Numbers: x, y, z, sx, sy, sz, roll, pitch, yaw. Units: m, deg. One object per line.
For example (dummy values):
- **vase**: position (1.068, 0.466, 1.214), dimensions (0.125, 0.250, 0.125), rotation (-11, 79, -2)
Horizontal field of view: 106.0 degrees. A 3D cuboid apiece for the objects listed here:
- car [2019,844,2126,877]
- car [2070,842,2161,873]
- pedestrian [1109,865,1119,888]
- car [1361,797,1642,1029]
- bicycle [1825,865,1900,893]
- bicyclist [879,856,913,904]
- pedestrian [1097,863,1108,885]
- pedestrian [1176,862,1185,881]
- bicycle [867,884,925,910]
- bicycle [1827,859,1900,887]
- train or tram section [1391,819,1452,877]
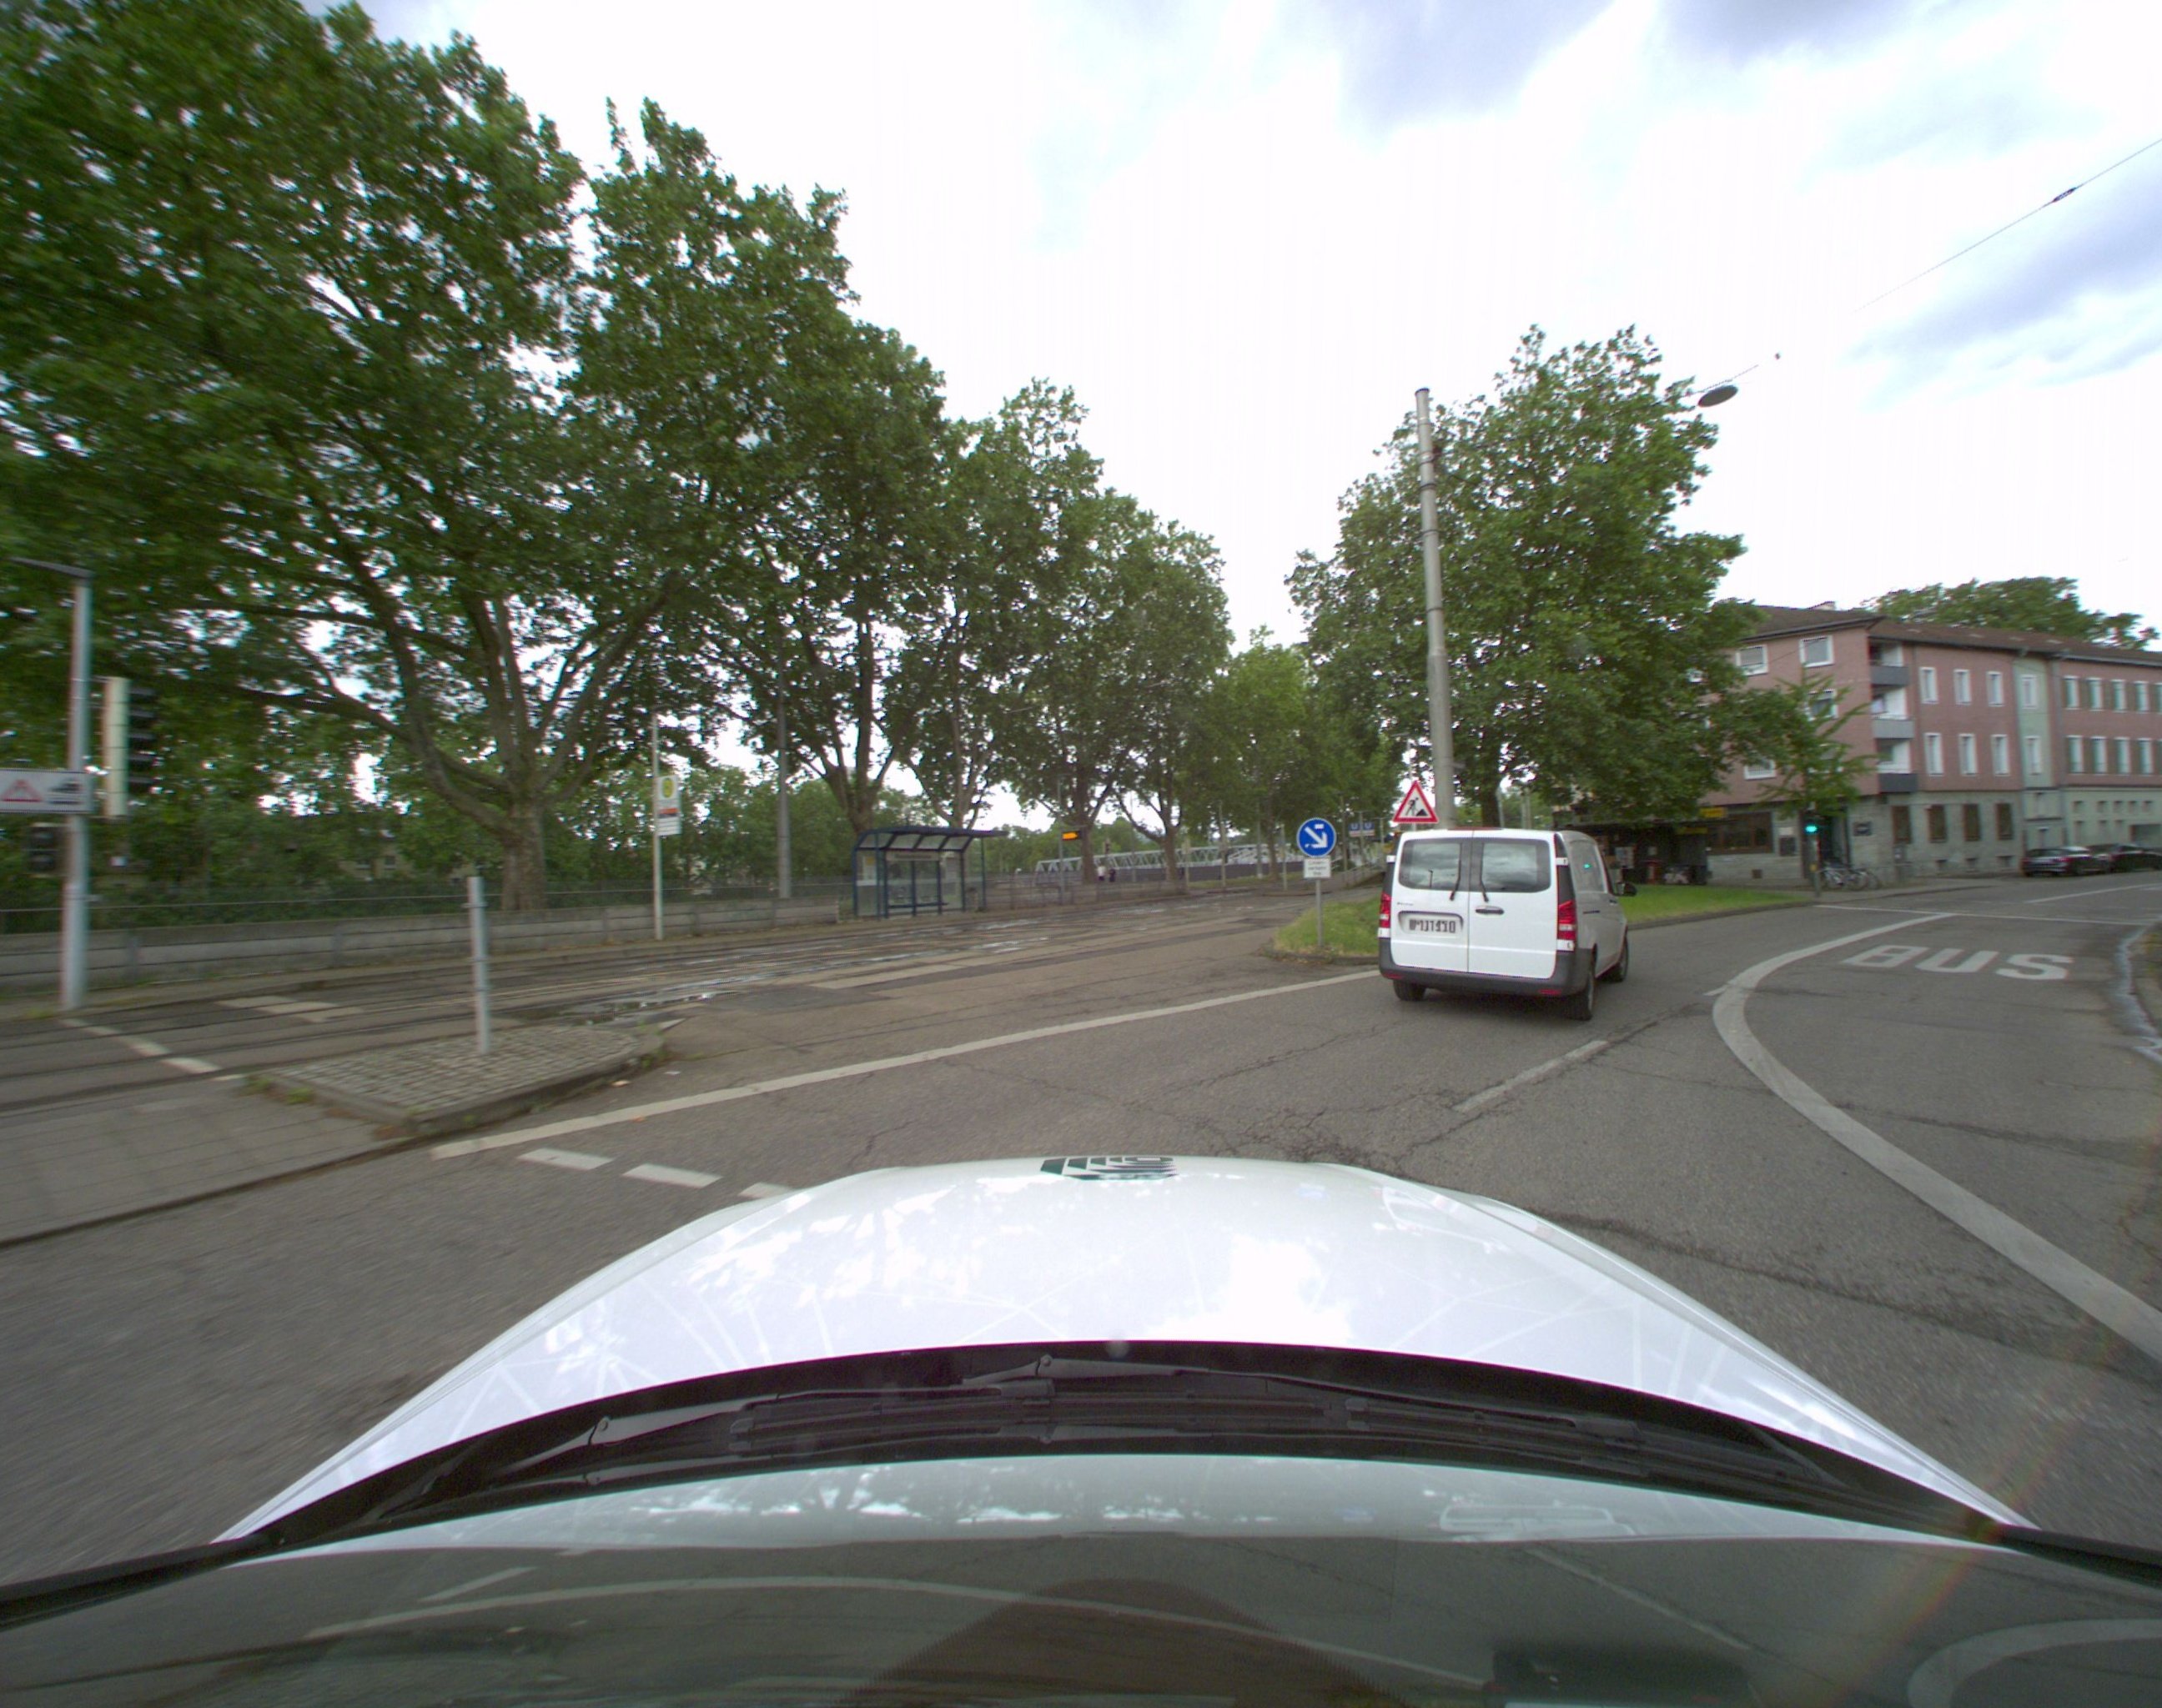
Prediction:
- **car**: position (47.150, 0.315, 38.752), dimensions (4.001, 1.398, 1.986), rotation (-1, -4, -21)
- **car**: position (51.971, 0.181, 40.678), dimensions (4.001, 1.398, 1.986), rotation (-1, -4, -21)
- **pedestrian**: position (2.178, 1.496, 53.897), dimensions (0.467, 1.451, 0.514), rotation (-4, -4, 28)
- **car**: position (5.122, 0.588, 9.523), dimensions (1.932, 2.014, 4.727), rotation (-3, -3, 39)
- **bicycle**: position (29.202, 0.944, 30.483), dimensions (1.978, 1.035, 0.566), rotation (-2, -3, 44)
- **bicyclist**: position (-7.938, 1.111, 34.936), dimensions (0.945, 2.014, 0.983), rotation (-4, -4, 32)
- **pedestrian**: position (1.431, 1.342, 54.291), dimensions (0.467, 1.451, 0.514), rotation (-4, -4, 28)
- **pedestrian**: position (8.107, 1.411, 66.380), dimensions (0.539, 1.498, 0.648), rotation (-2, -1, 28)
- **bicycle**: position (-7.895, 1.828, 34.938), dimensions (0.922, 1.014, 2.513), rotation (-4, -4, 32)
- **bicycle**: position (30.106, 0.749, 31.356), dimensions (1.978, 1.035, 0.566), rotation (-2, -3, 44)
- **train or tram section**: position (22.841, -0.239, 54.345), dimensions (2.554, 3.451, 7.803), rotation (-4, -4, 30)
